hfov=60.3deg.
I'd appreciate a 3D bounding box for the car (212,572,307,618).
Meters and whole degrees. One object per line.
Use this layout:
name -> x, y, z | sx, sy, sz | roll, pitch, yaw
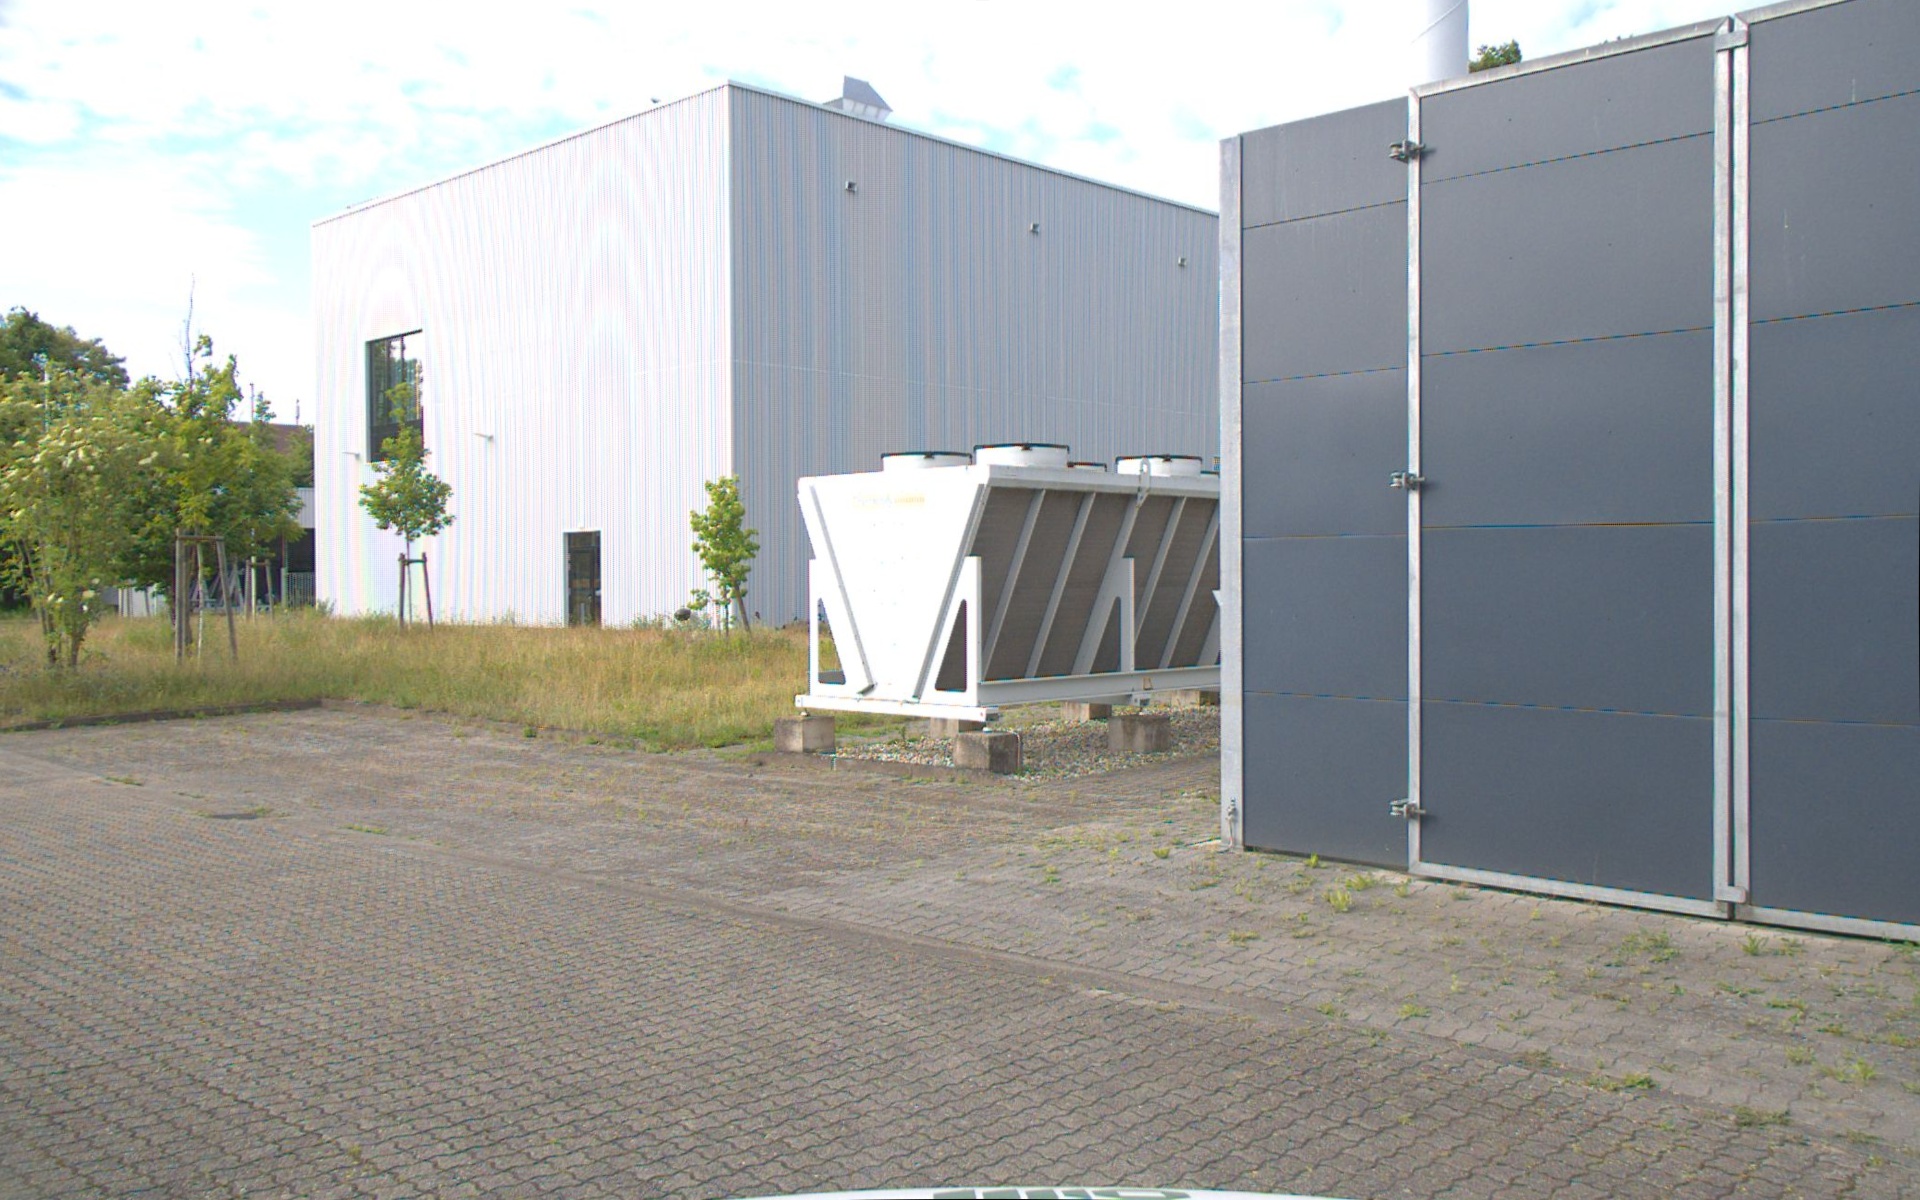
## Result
car -> -33.063, -0.238, 77.999 | 5.244, 2.049, 2.234 | 0, 1, 43
